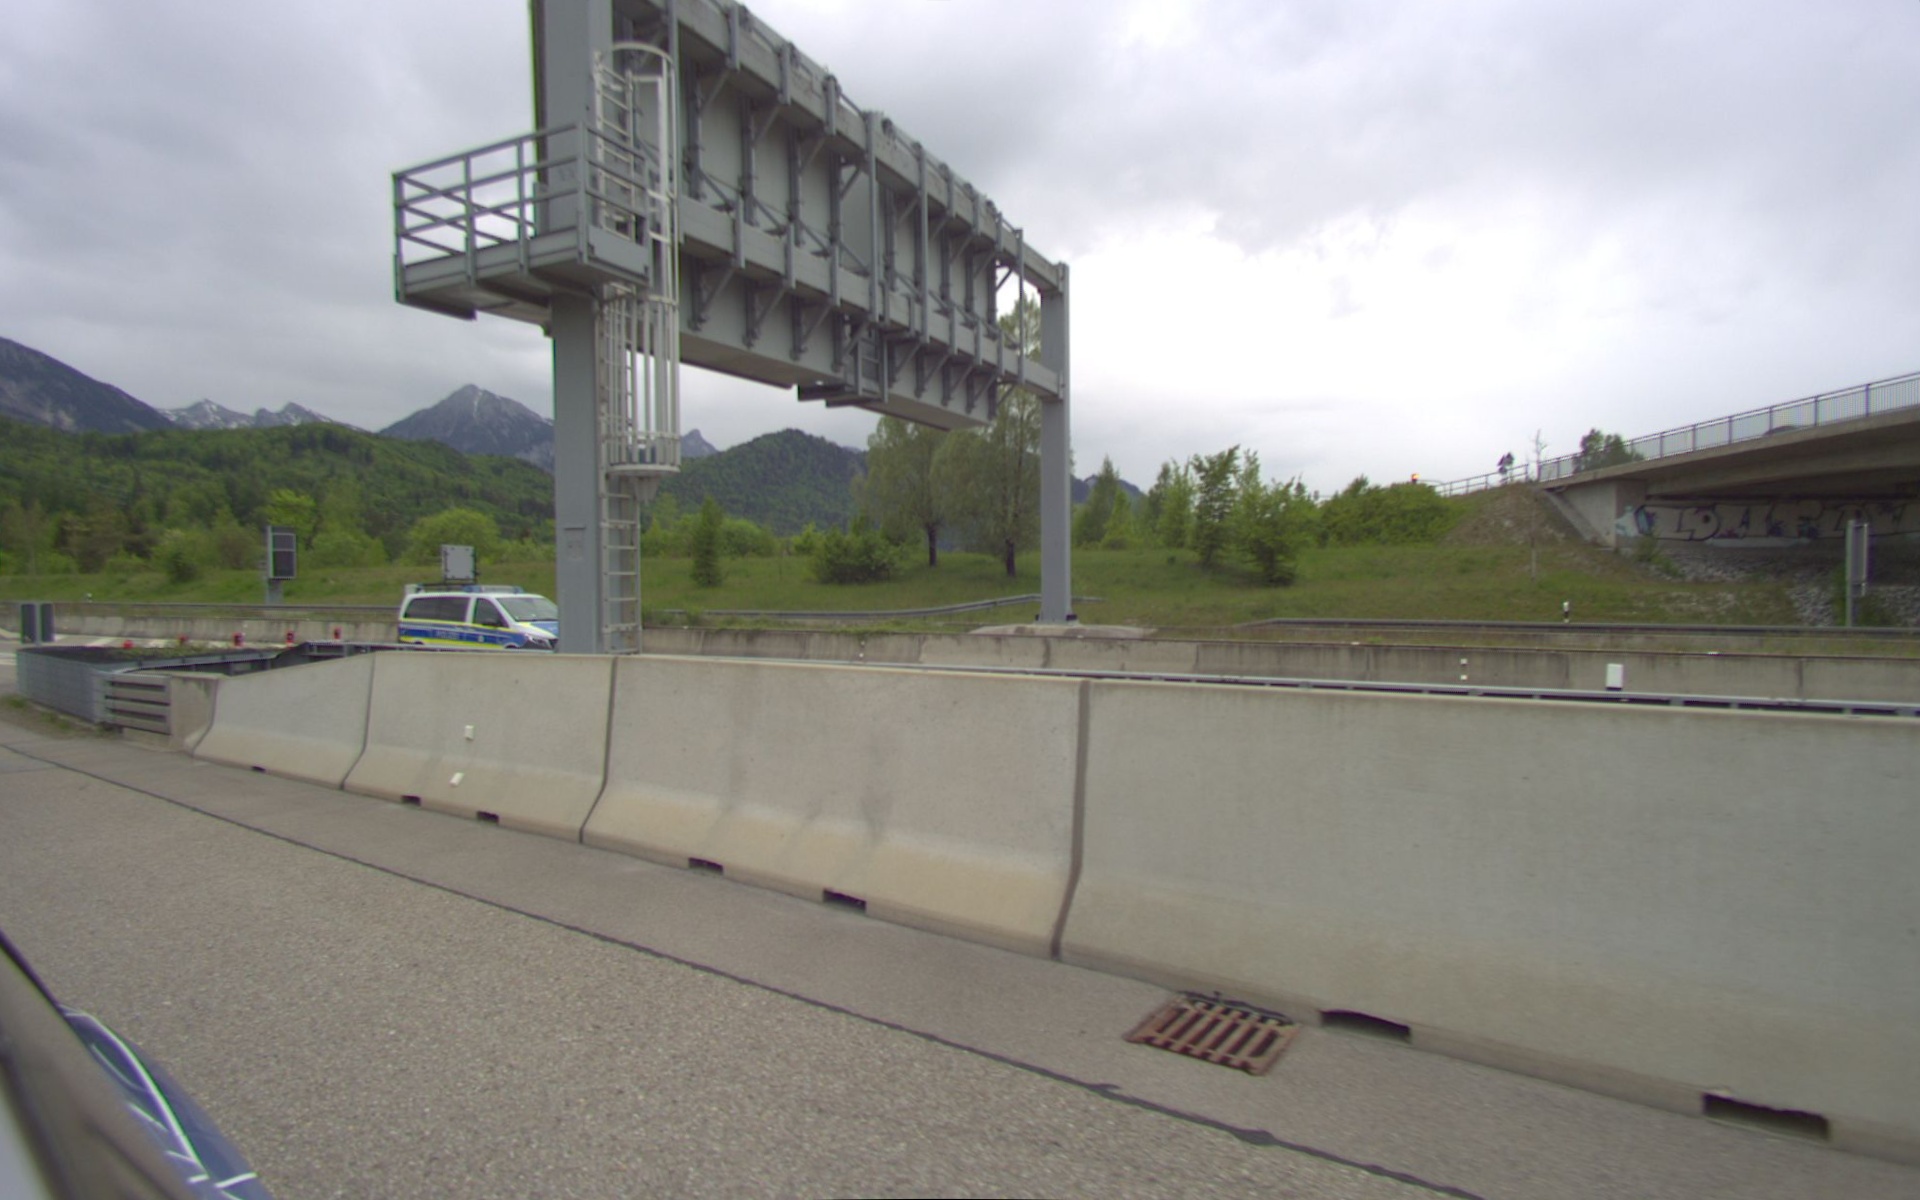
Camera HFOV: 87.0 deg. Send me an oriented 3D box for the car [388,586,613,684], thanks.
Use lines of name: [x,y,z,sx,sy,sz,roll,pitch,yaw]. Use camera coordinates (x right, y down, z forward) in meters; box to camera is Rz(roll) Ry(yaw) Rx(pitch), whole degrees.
car: [-10.559,0.742,23.185,5.028,2.029,2.085,0,-1,28]
